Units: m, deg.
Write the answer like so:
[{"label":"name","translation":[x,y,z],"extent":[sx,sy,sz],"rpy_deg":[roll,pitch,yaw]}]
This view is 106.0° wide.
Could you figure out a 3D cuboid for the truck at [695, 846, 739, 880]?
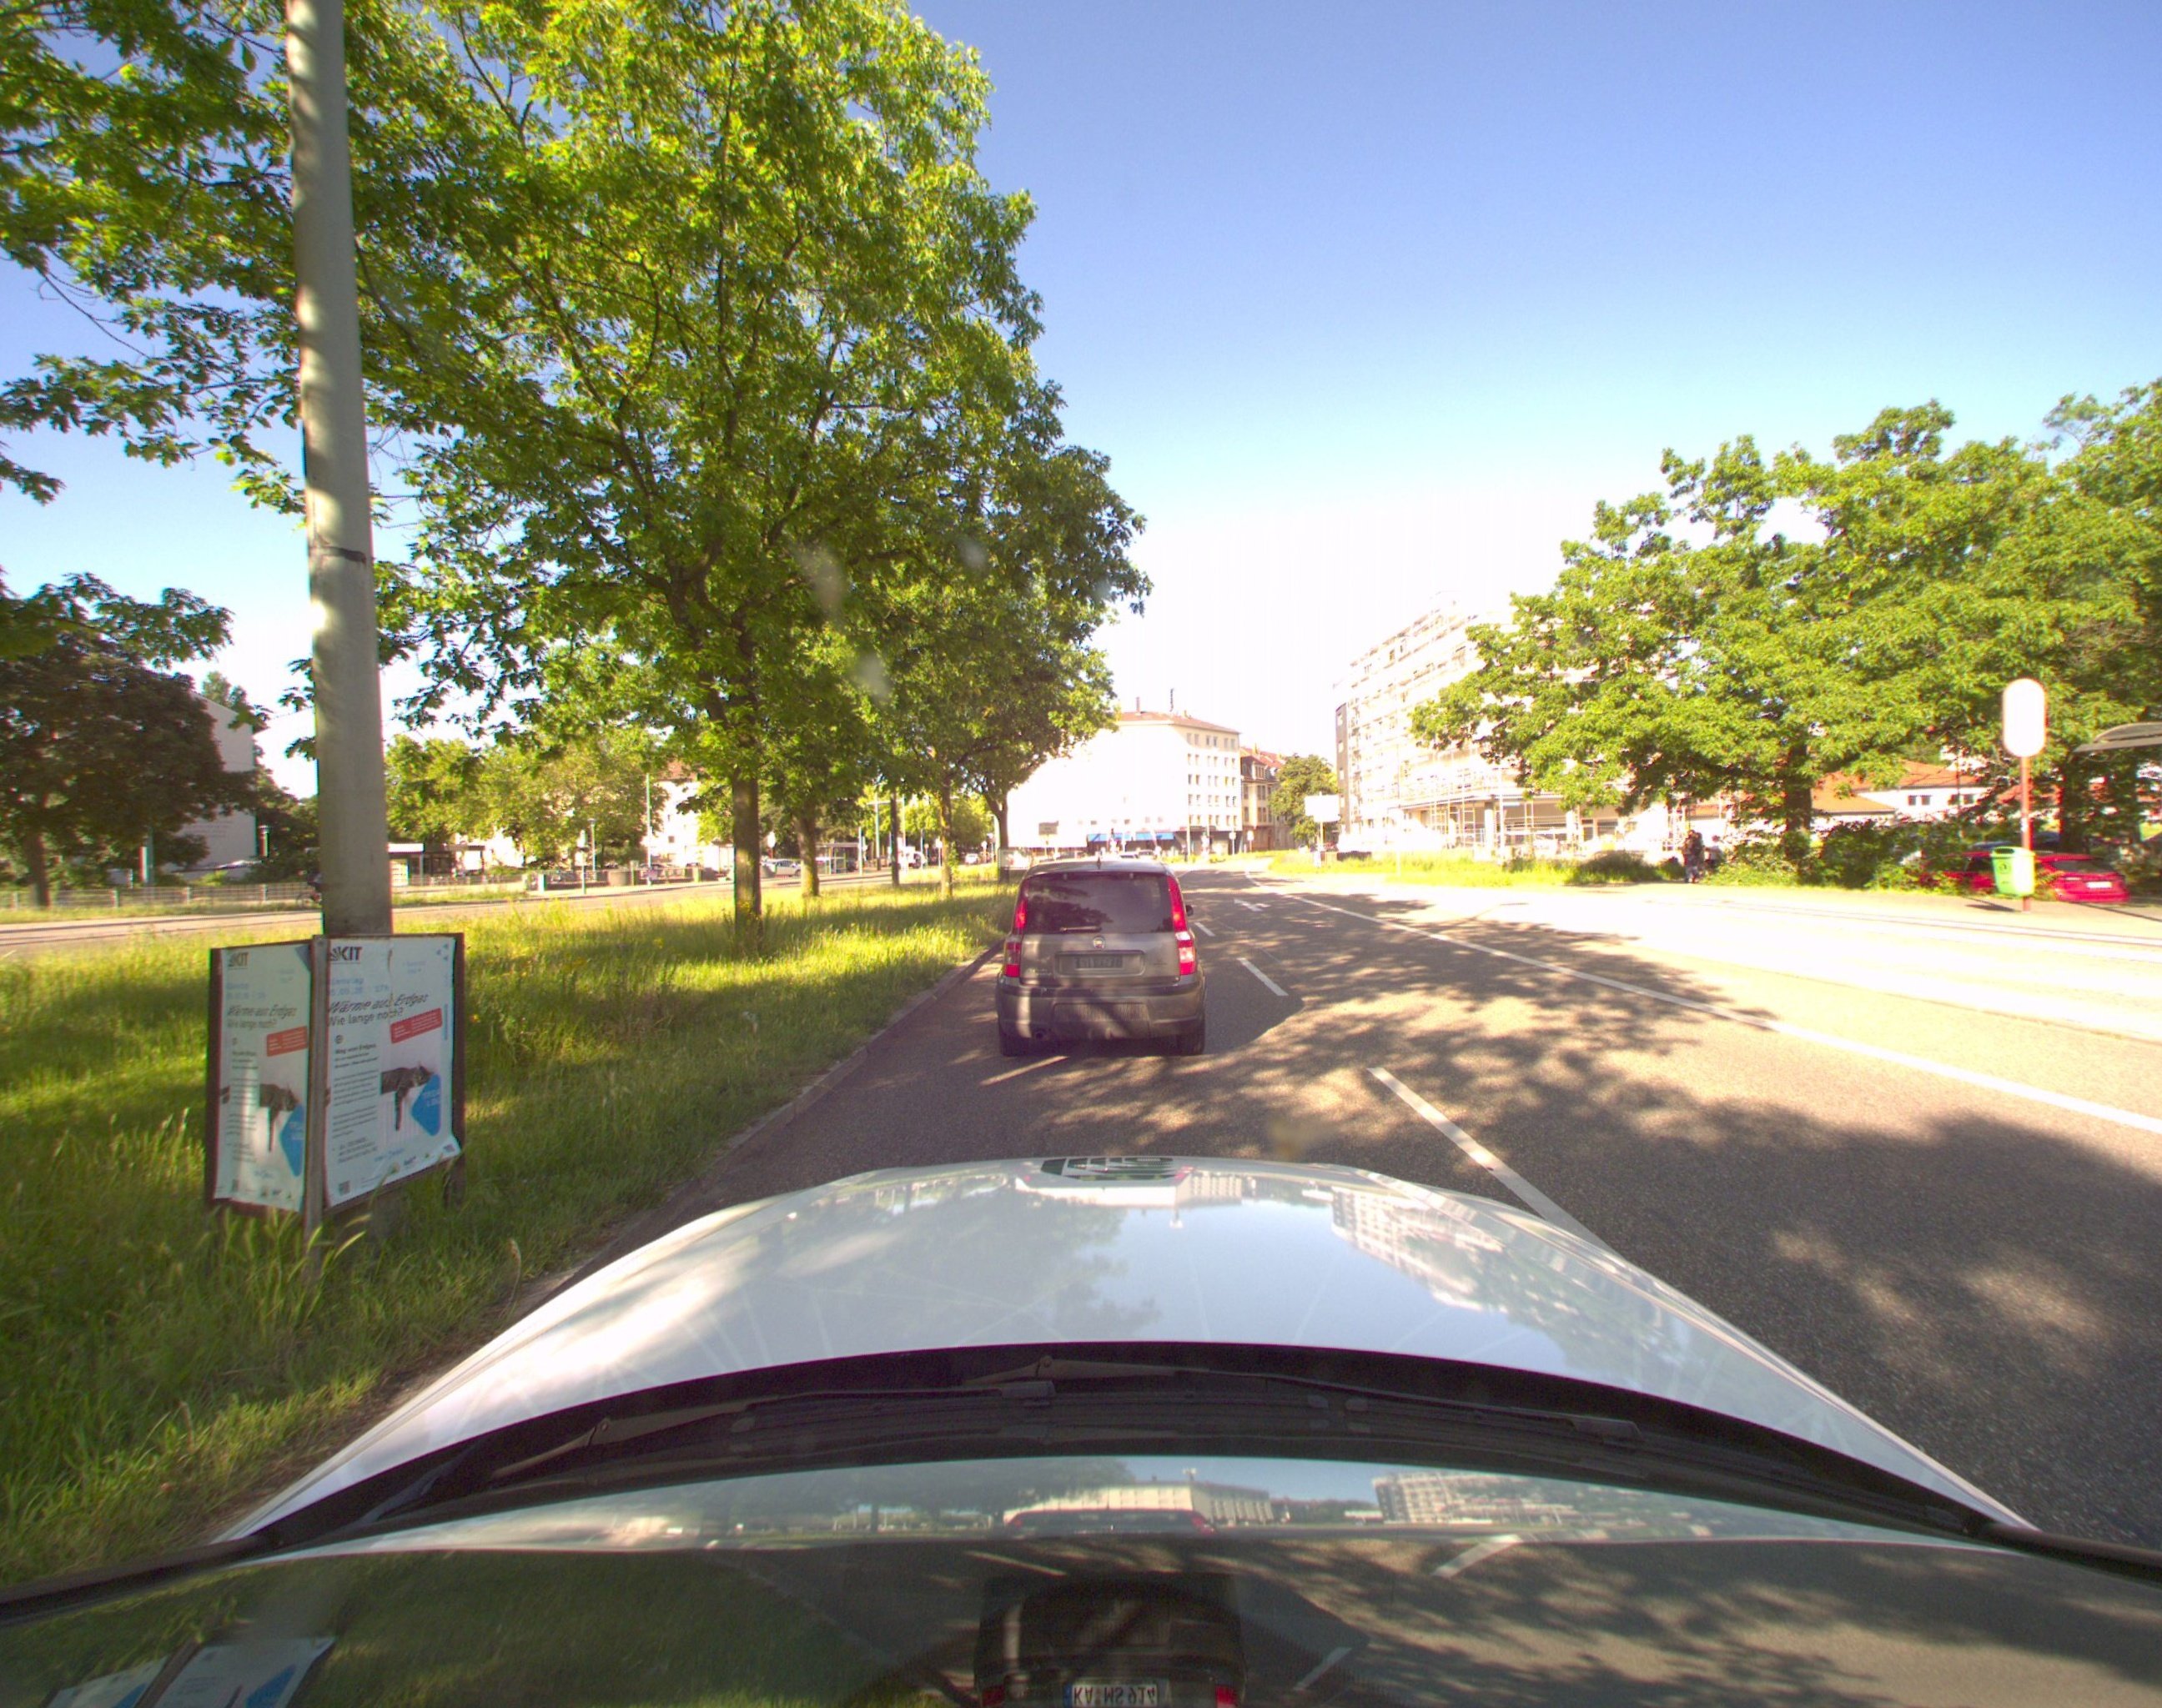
[{"label":"truck","translation":[-33.328,0.835,74.528],"extent":[4.768,2.994,2.012],"rpy_deg":[-1,1,44]}]

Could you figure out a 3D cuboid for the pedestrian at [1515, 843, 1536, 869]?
[{"label":"pedestrian","translation":[25.976,0.094,47.643],"extent":[0.649,1.497,0.907],"rpy_deg":[-2,0,-6]}]

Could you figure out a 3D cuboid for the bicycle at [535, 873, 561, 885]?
[{"label":"bicycle","translation":[-43.070,2.004,65.809],"extent":[1.695,0.839,0.541],"rpy_deg":[-2,0,-41]}]

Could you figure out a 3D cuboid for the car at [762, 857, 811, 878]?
[{"label":"car","translation":[-27.110,1.199,75.099],"extent":[1.741,1.717,4.025],"rpy_deg":[2,3,29]}]

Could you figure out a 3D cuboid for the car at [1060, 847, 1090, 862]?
[{"label":"car","translation":[-0.696,0.055,89.836],"extent":[1.669,1.501,3.556],"rpy_deg":[-2,0,-33]}]

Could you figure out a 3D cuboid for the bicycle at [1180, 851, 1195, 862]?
[{"label":"bicycle","translation":[9.491,0.207,72.910],"extent":[0.783,0.951,1.849],"rpy_deg":[0,-1,-11]}]

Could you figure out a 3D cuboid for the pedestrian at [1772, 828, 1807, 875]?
[{"label":"pedestrian","translation":[24.779,-0.086,28.483],"extent":[0.701,1.619,0.566],"rpy_deg":[0,-1,-4]}]

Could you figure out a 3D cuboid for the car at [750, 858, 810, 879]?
[{"label":"car","translation":[-26.533,1.250,71.869],"extent":[1.849,1.544,4.576],"rpy_deg":[2,3,45]}]

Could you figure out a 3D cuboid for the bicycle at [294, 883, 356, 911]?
[{"label":"bicycle","translation":[-30.043,1.684,32.392],"extent":[0.607,1.001,1.667],"rpy_deg":[-2,0,20]}]

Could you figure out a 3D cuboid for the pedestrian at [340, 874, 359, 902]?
[{"label":"pedestrian","translation":[-49.813,2.300,55.464],"extent":[0.553,1.829,0.731],"rpy_deg":[-2,0,23]}]

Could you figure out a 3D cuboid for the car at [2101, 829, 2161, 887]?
[{"label":"car","translation":[29.611,0.162,20.483],"extent":[1.984,1.537,4.897],"rpy_deg":[0,2,5]}]

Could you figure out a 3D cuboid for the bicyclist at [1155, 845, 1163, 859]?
[{"label":"bicyclist","translation":[7.621,-0.180,79.838],"extent":[0.531,1.357,0.594],"rpy_deg":[-2,0,-15]}]

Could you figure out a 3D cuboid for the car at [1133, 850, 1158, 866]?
[{"label":"car","translation":[5.270,0.300,67.096],"extent":[1.985,1.243,4.003],"rpy_deg":[-1,0,3]}]

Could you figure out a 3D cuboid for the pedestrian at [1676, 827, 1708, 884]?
[{"label":"pedestrian","translation":[18.600,0.034,24.796],"extent":[0.600,1.700,0.410],"rpy_deg":[-2,0,1]}]

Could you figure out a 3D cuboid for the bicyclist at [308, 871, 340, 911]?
[{"label":"bicyclist","translation":[-30.052,1.448,32.348],"extent":[0.607,1.530,0.679],"rpy_deg":[0,1,19]}]

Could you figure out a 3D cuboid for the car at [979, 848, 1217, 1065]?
[{"label":"car","translation":[0.218,0.723,7.451],"extent":[1.653,1.510,3.254],"rpy_deg":[-2,0,3]}]

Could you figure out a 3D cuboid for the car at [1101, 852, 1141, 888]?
[{"label":"car","translation":[1.767,0.678,35.806],"extent":[1.639,1.438,3.399],"rpy_deg":[-2,0,3]}]

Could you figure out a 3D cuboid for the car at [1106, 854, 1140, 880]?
[{"label":"car","translation":[2.264,0.646,43.049],"extent":[1.683,1.253,3.631],"rpy_deg":[-2,0,4]}]

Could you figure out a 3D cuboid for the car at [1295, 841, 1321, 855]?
[{"label":"car","translation":[25.088,-0.620,89.975],"extent":[1.757,1.442,3.642],"rpy_deg":[-1,1,34]}]

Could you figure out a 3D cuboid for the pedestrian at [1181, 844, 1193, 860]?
[{"label":"pedestrian","translation":[9.483,-0.183,72.939],"extent":[0.774,1.427,0.935],"rpy_deg":[0,-1,-12]}]

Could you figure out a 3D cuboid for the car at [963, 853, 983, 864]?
[{"label":"car","translation":[-14.409,0.607,108.712],"extent":[1.986,1.310,4.002],"rpy_deg":[-2,0,2]}]

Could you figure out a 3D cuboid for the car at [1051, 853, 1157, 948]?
[{"label":"car","translation":[0.416,0.724,14.582],"extent":[1.615,1.429,3.690],"rpy_deg":[-2,0,2]}]

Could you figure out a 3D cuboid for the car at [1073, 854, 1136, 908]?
[{"label":"car","translation":[0.695,0.775,25.472],"extent":[1.754,1.486,4.293],"rpy_deg":[-2,0,0]}]

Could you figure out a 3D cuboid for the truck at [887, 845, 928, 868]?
[{"label":"truck","translation":[-19.346,0.264,90.842],"extent":[4.085,2.426,1.793],"rpy_deg":[-2,0,-2]}]

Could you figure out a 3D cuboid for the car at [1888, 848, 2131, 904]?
[{"label":"car","translation":[21.908,0.458,19.473],"extent":[1.392,1.154,3.912],"rpy_deg":[-2,0,1]}]

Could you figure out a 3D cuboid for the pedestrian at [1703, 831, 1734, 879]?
[{"label":"pedestrian","translation":[20.875,0.034,26.665],"extent":[0.525,1.518,0.614],"rpy_deg":[-2,0,4]}]

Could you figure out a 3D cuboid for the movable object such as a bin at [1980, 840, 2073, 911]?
[{"label":"movable object such as a bin","translation":[14.365,0.315,12.382],"extent":[0.724,1.030,0.578],"rpy_deg":[-2,0,1]}]

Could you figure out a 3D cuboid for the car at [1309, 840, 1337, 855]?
[{"label":"car","translation":[27.954,-0.751,94.038],"extent":[1.802,1.508,4.026],"rpy_deg":[-2,1,35]}]

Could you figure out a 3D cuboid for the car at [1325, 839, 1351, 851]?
[{"label":"car","translation":[37.913,-1.338,120.328],"extent":[1.905,1.593,3.985],"rpy_deg":[-2,0,-11]}]

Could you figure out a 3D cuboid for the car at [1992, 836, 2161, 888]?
[{"label":"car","translation":[33.662,0.262,27.287],"extent":[1.984,1.607,4.006],"rpy_deg":[0,-1,5]}]

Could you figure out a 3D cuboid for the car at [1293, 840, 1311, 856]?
[{"label":"car","translation":[28.654,-0.812,105.564],"extent":[1.977,2.014,4.019],"rpy_deg":[-1,-1,18]}]

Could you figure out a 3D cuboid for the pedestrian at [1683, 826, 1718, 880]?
[{"label":"pedestrian","translation":[19.193,-0.029,25.241],"extent":[0.619,1.634,0.552],"rpy_deg":[-2,0,2]}]

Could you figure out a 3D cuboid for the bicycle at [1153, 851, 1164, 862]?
[{"label":"bicycle","translation":[7.626,0.244,79.851],"extent":[0.531,1.090,1.577],"rpy_deg":[-2,0,-15]}]
